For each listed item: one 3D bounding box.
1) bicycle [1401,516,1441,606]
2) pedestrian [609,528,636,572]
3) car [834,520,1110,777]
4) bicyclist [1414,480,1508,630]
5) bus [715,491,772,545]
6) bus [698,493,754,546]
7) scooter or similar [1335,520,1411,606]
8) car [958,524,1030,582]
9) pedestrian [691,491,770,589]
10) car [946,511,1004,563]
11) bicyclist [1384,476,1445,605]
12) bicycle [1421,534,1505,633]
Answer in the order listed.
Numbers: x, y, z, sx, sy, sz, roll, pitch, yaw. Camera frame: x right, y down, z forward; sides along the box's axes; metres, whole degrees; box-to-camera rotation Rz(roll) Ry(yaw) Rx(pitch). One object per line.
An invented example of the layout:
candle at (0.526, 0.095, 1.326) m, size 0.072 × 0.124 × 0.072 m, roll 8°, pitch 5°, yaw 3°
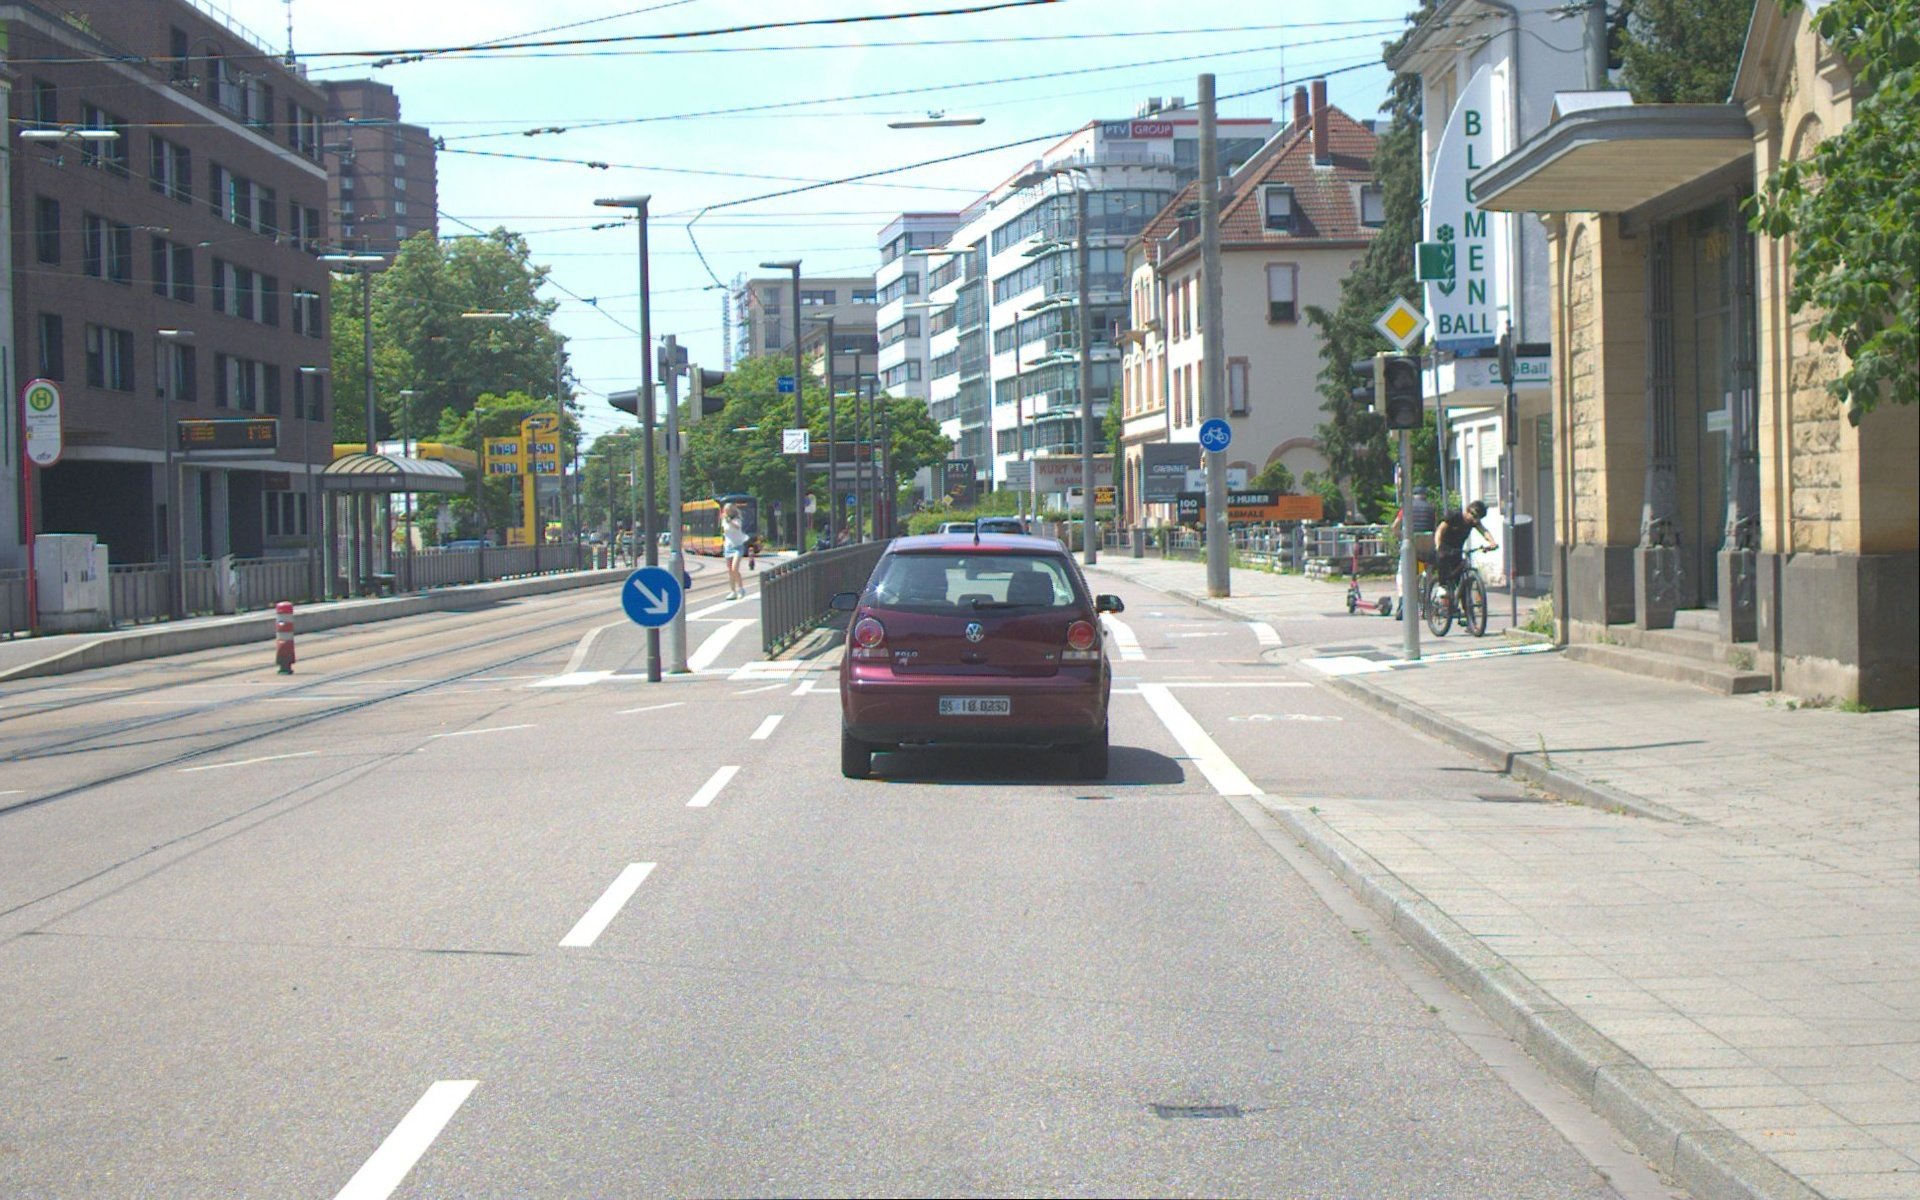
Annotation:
bicycle at (6.341, -0.549, 47.284) m, size 0.375 × 1.193 × 1.904 m, roll -1°, pitch 2°, yaw 12°
pedestrian at (-15.750, -2.333, 160.368) m, size 1.109 × 2.007 × 1.039 m, roll -1°, pitch 1°, yaw 1°
car at (0.063, 0.247, 21.386) m, size 1.561 × 1.448 × 3.062 m, roll -1°, pitch 1°, yaw 0°
bicyclist at (5.652, -0.515, 38.811) m, size 0.832 × 1.612 × 0.860 m, roll -5°, pitch 2°, yaw 2°
bus at (-12.258, -4.606, 193.936) m, size 2.144 × 2.992 × 6.575 m, roll -2°, pitch 1°, yaw -12°
bus at (-13.679, -4.668, 200.345) m, size 2.232 × 2.992 × 6.596 m, roll -2°, pitch 1°, yaw -12°
scooter or similar at (5.757, -0.521, 47.998) m, size 0.339 × 1.174 × 1.468 m, roll -2°, pitch 1°, yaw -23°
car at (0.972, -1.392, 101.345) m, size 1.993 × 1.619 × 4.632 m, roll -1°, pitch 1°, yaw -1°
pedestrian at (-3.981, -1.037, 59.601) m, size 1.097 × 1.669 × 0.765 m, roll -2°, pitch 1°, yaw -35°
car at (0.542, -2.367, 128.345) m, size 1.993 × 1.842 × 4.001 m, roll -2°, pitch 2°, yaw -1°
bicyclist at (6.267, -0.826, 47.377) m, size 0.727 × 1.754 × 0.923 m, roll -1°, pitch 1°, yaw 12°
bicycle at (5.656, -0.196, 38.738) m, size 0.668 × 0.999 × 1.864 m, roll -5°, pitch 2°, yaw 2°
